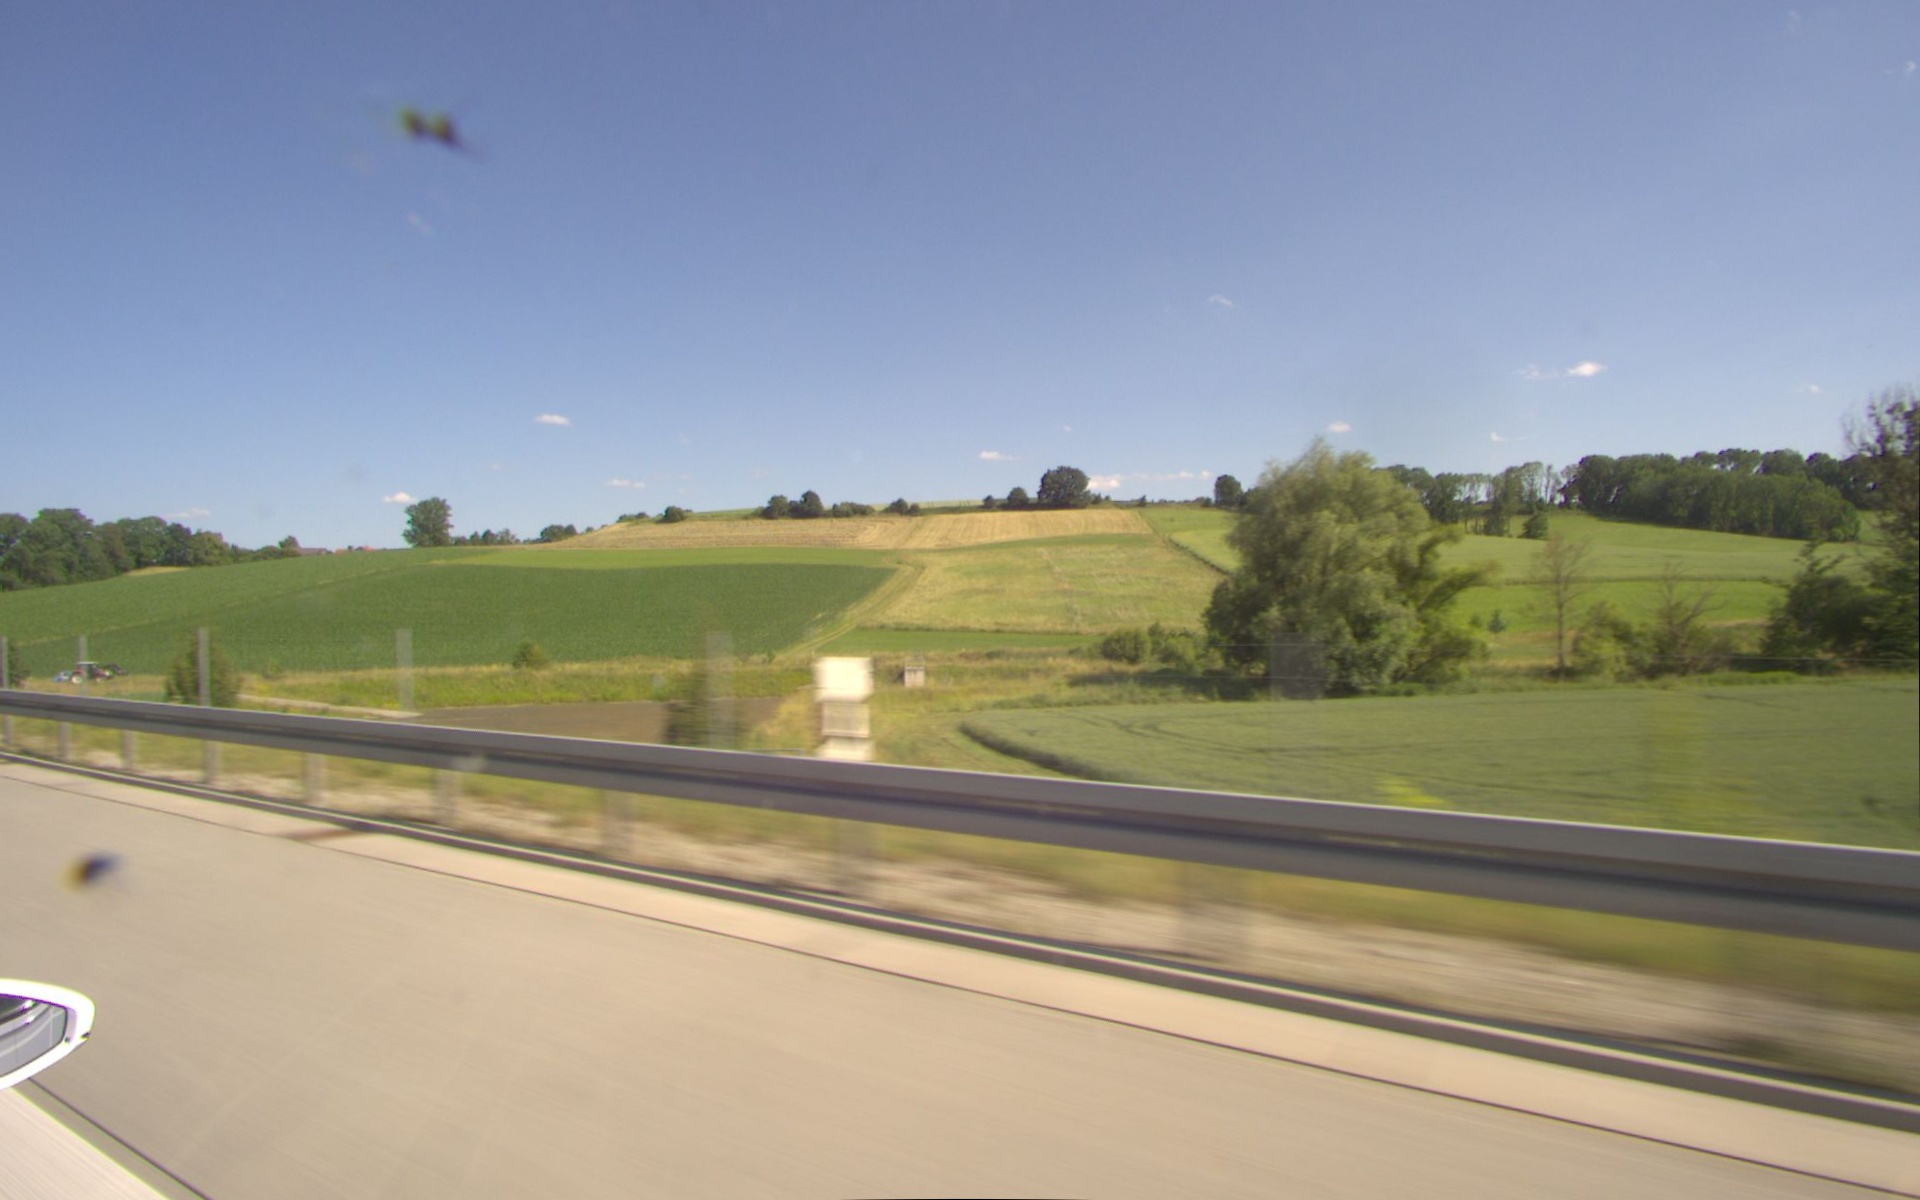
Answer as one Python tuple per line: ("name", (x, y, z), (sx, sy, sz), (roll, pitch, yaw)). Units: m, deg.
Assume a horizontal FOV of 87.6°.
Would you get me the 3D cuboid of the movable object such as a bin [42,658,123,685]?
("movable object such as a bin", (-100.794, 8.190, 115.176), (6.121, 2.806, 3.283), (0, -2, -16))
